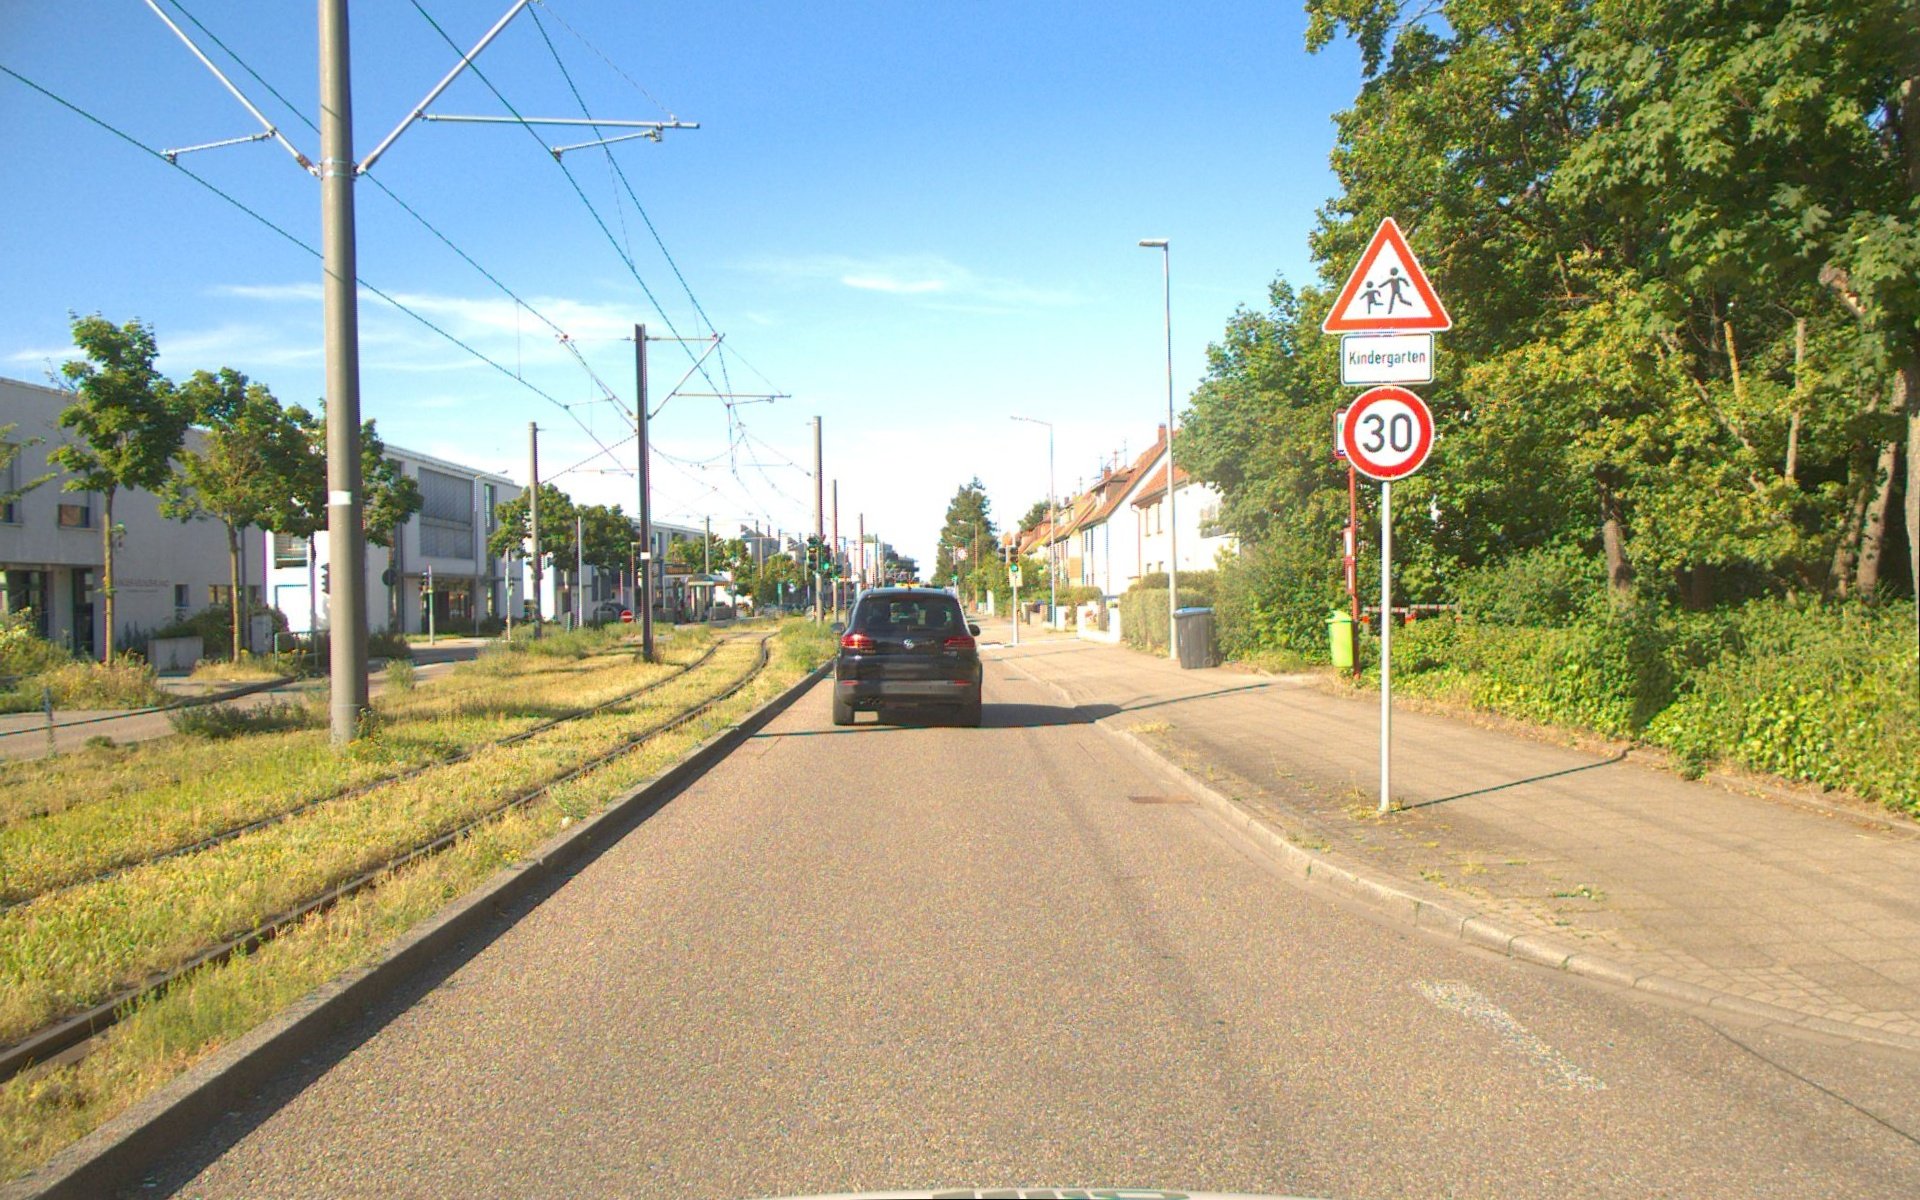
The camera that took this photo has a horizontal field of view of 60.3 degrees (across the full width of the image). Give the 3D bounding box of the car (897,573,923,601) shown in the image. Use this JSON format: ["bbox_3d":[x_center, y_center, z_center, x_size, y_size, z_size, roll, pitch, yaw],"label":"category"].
[{"bbox_3d":[-4.791,-1.242,158.285,2.346,2.609,5.529,-1,0,-1],"label":"car"}]

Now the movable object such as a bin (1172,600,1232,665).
[{"bbox_3d":[4.462,0.587,30.616,0.955,1.130,1.171,-2,1,2],"label":"movable object such as a bin"}]

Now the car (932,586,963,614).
[{"bbox_3d":[-0.826,-0.030,104.196,1.740,1.699,3.998,-1,0,-3],"label":"car"}]

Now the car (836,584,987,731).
[{"bbox_3d":[-0.665,0.656,21.111,1.740,1.699,3.998,0,0,-3],"label":"car"}]

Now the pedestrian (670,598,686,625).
[{"bbox_3d":[-16.904,0.687,99.198,0.868,1.614,0.624,-1,0,-20],"label":"pedestrian"}]
